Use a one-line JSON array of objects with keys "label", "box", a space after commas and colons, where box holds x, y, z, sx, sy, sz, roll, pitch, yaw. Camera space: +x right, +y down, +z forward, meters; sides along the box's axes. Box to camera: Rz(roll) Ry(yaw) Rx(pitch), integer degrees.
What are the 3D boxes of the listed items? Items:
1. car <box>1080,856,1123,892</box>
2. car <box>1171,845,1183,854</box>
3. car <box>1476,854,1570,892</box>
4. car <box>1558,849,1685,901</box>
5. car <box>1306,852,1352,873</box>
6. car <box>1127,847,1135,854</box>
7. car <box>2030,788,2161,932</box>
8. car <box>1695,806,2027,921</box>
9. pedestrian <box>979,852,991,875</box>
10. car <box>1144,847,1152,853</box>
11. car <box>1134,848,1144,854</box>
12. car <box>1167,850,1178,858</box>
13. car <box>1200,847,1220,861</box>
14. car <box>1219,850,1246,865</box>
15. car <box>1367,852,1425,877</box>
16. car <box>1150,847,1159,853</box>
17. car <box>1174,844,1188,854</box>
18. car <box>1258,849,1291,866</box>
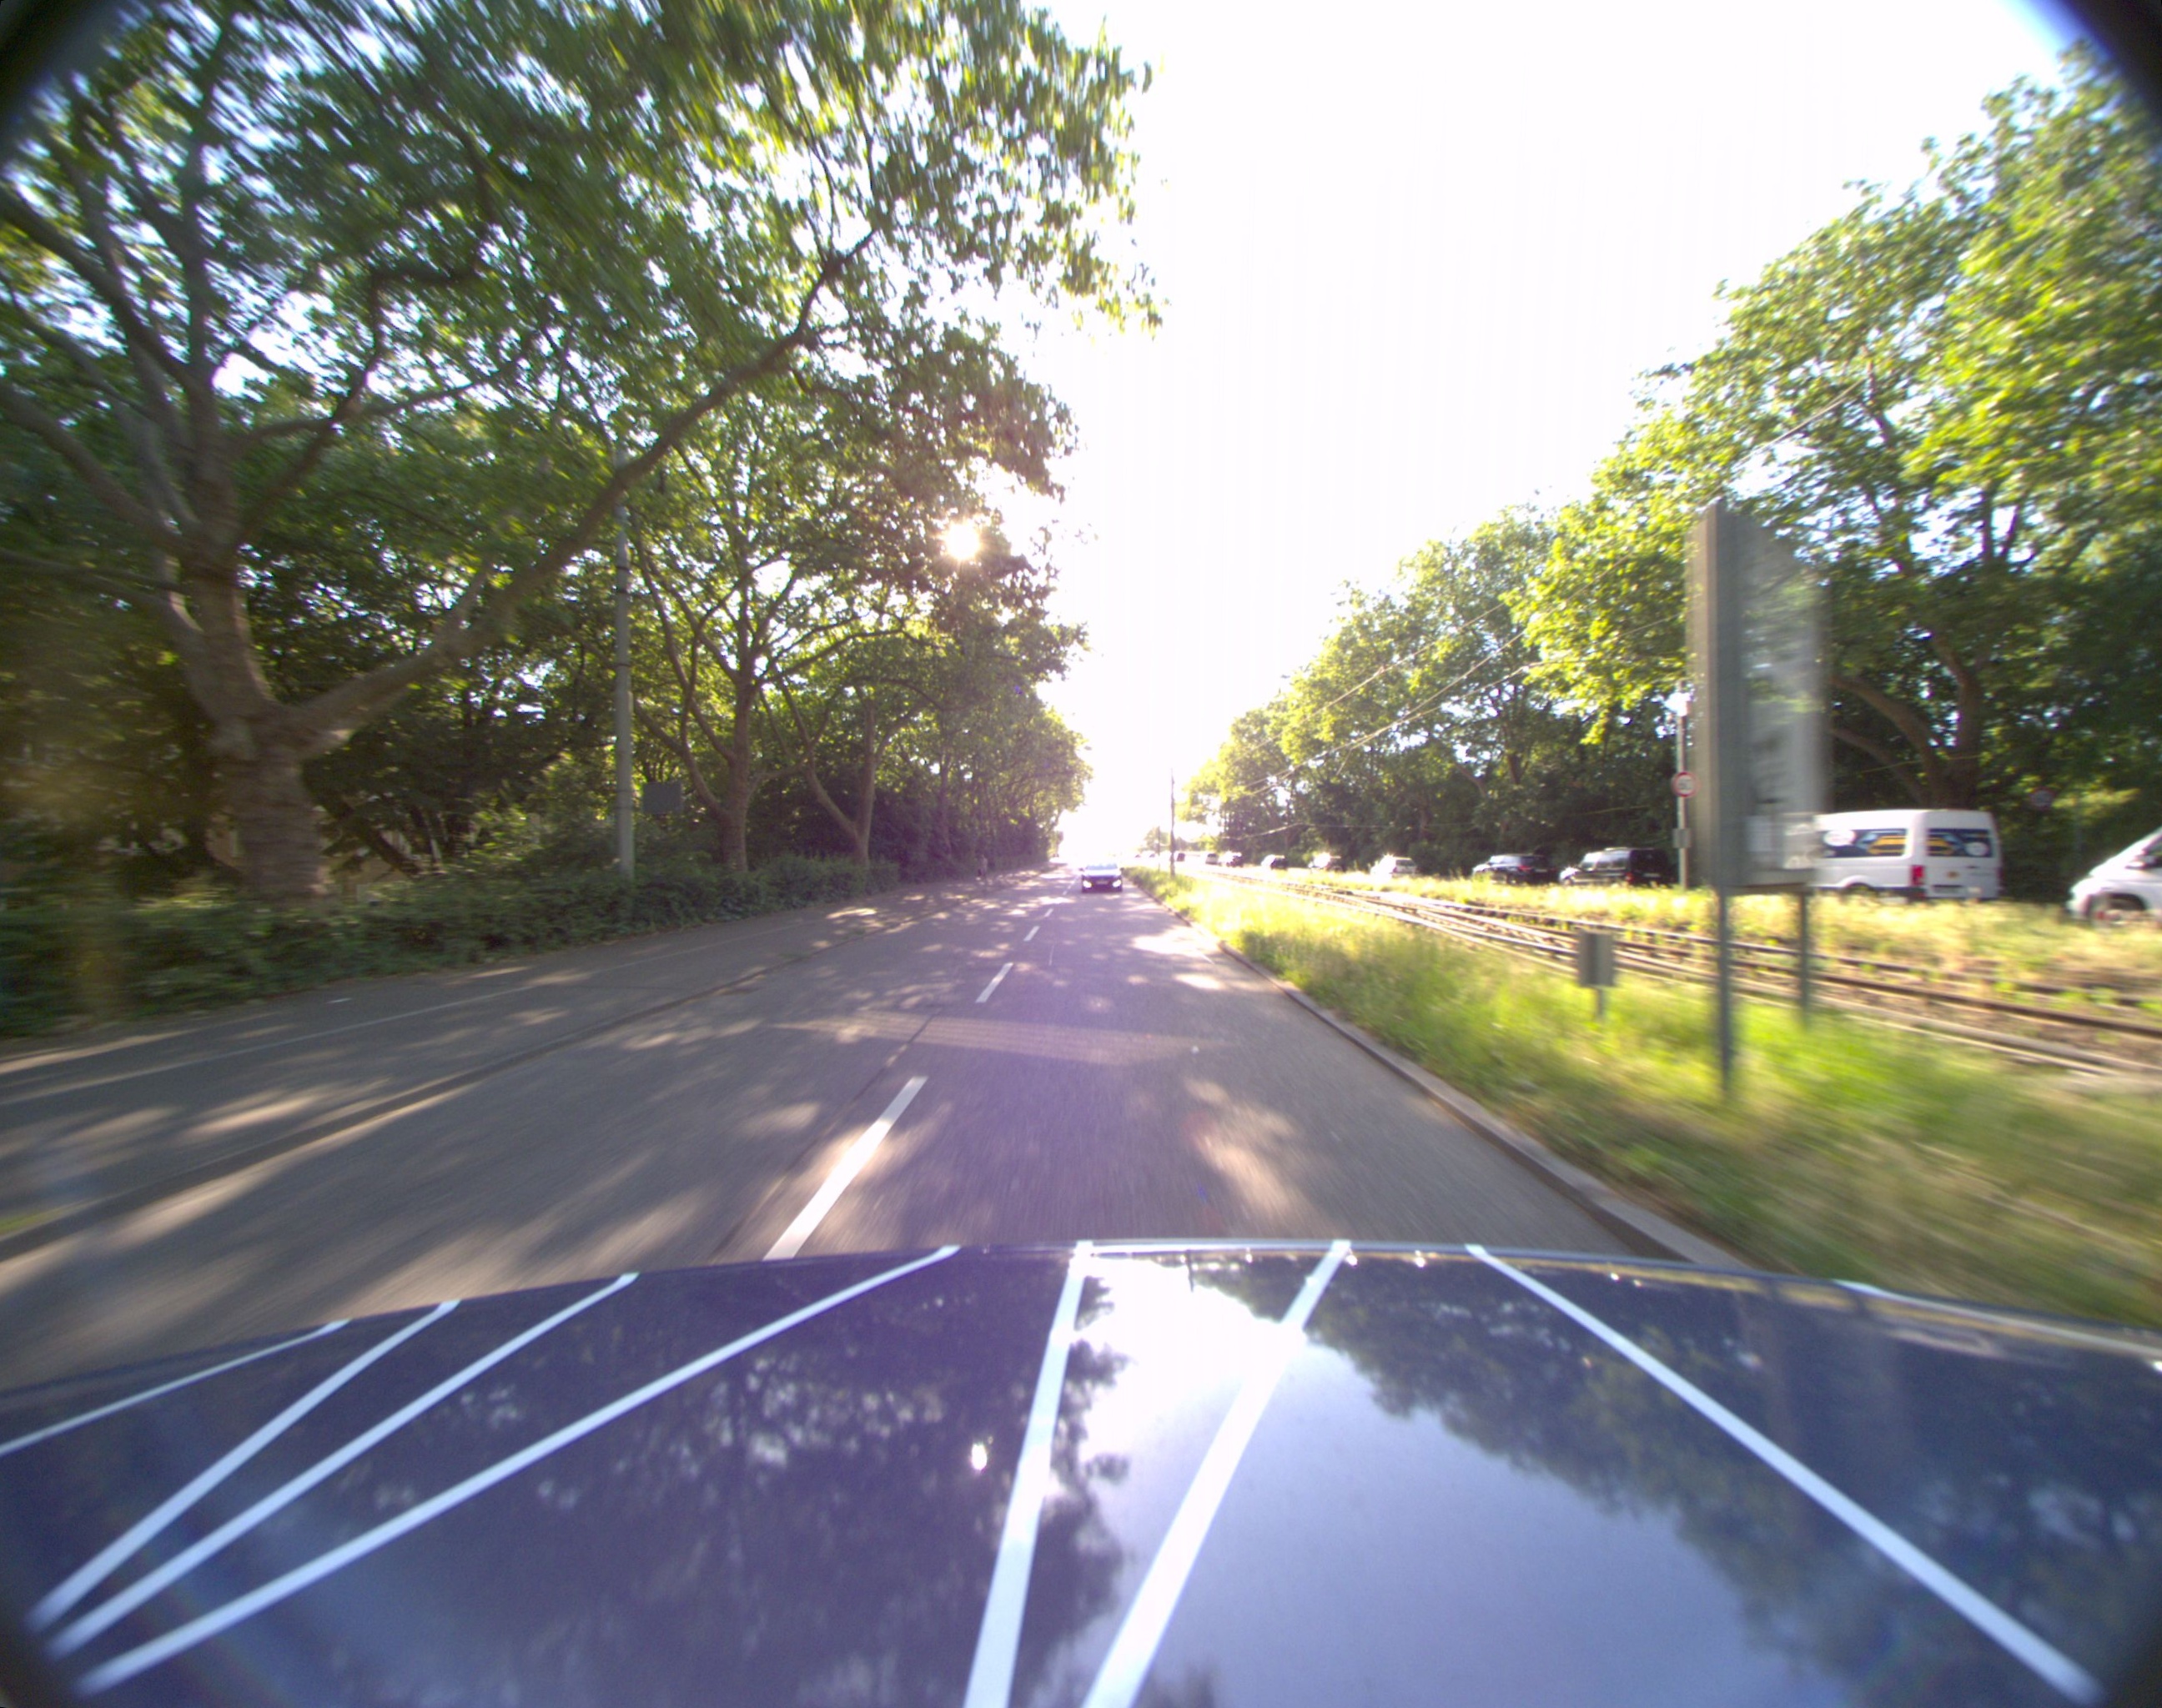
[{"label": "car", "box": [0.884, 0.856, 34.476, 1.799, 1.501, 4.000, -2, 0, 0]}, {"label": "car", "box": [17.482, -0.839, 138.514, 1.658, 1.434, 3.784, 1, 1, -2]}, {"label": "car", "box": [19.434, 0.789, 33.598, 1.743, 1.546, 3.881, 1, 1, -2]}, {"label": "car", "box": [19.589, 0.692, 27.747, 1.743, 1.718, 3.881, 1, 1, -2]}, {"label": "car", "box": [18.399, 0.601, 56.506, 1.832, 1.428, 4.322, 1, 1, -2]}, {"label": "car", "box": [14.131, -1.099, 215.059, 1.831, 1.841, 5.035, 1, 1, 0]}, {"label": "car", "box": [19.993, 0.131, 11.885, 2.189, 2.506, 6.269, 1, 1, -3]}, {"label": "car", "box": [19.621, 0.181, 19.749, 2.189, 2.506, 6.048, 1, 1, -2]}, {"label": "pedestrian", "box": [-6.956, 0.708, 55.030, 0.649, 1.626, 0.927, 2, 1, 1]}, {"label": "car", "box": [17.341, -0.966, 197.056, 1.658, 1.491, 3.924, 1, 1, 0]}, {"label": "car", "box": [14.319, -0.701, 187.841, 1.925, 1.407, 4.748, 1, 1, -1]}, {"label": "car", "box": [17.300, -0.076, 144.019, 1.658, 1.434, 3.784, 1, 1, -1]}, {"label": "car", "box": [17.777, 0.033, 104.778, 1.832, 1.830, 4.393, 1, 1, -2]}, {"label": "car", "box": [17.661, 0.377, 88.836, 1.832, 1.709, 4.391, 1, 1, -6]}, {"label": "car", "box": [18.935, 0.610, 45.881, 1.743, 1.428, 3.851, 1, 1, -2]}, {"label": "car", "box": [17.928, -1.026, 185.850, 1.658, 1.491, 3.924, 1, 1, -1]}, {"label": "car", "box": [17.418, -0.820, 132.944, 1.735, 1.730, 3.898, 1, 1, -2]}, {"label": "car", "box": [17.820, 0.280, 70.150, 1.832, 1.497, 4.393, 1, 1, -2]}]
